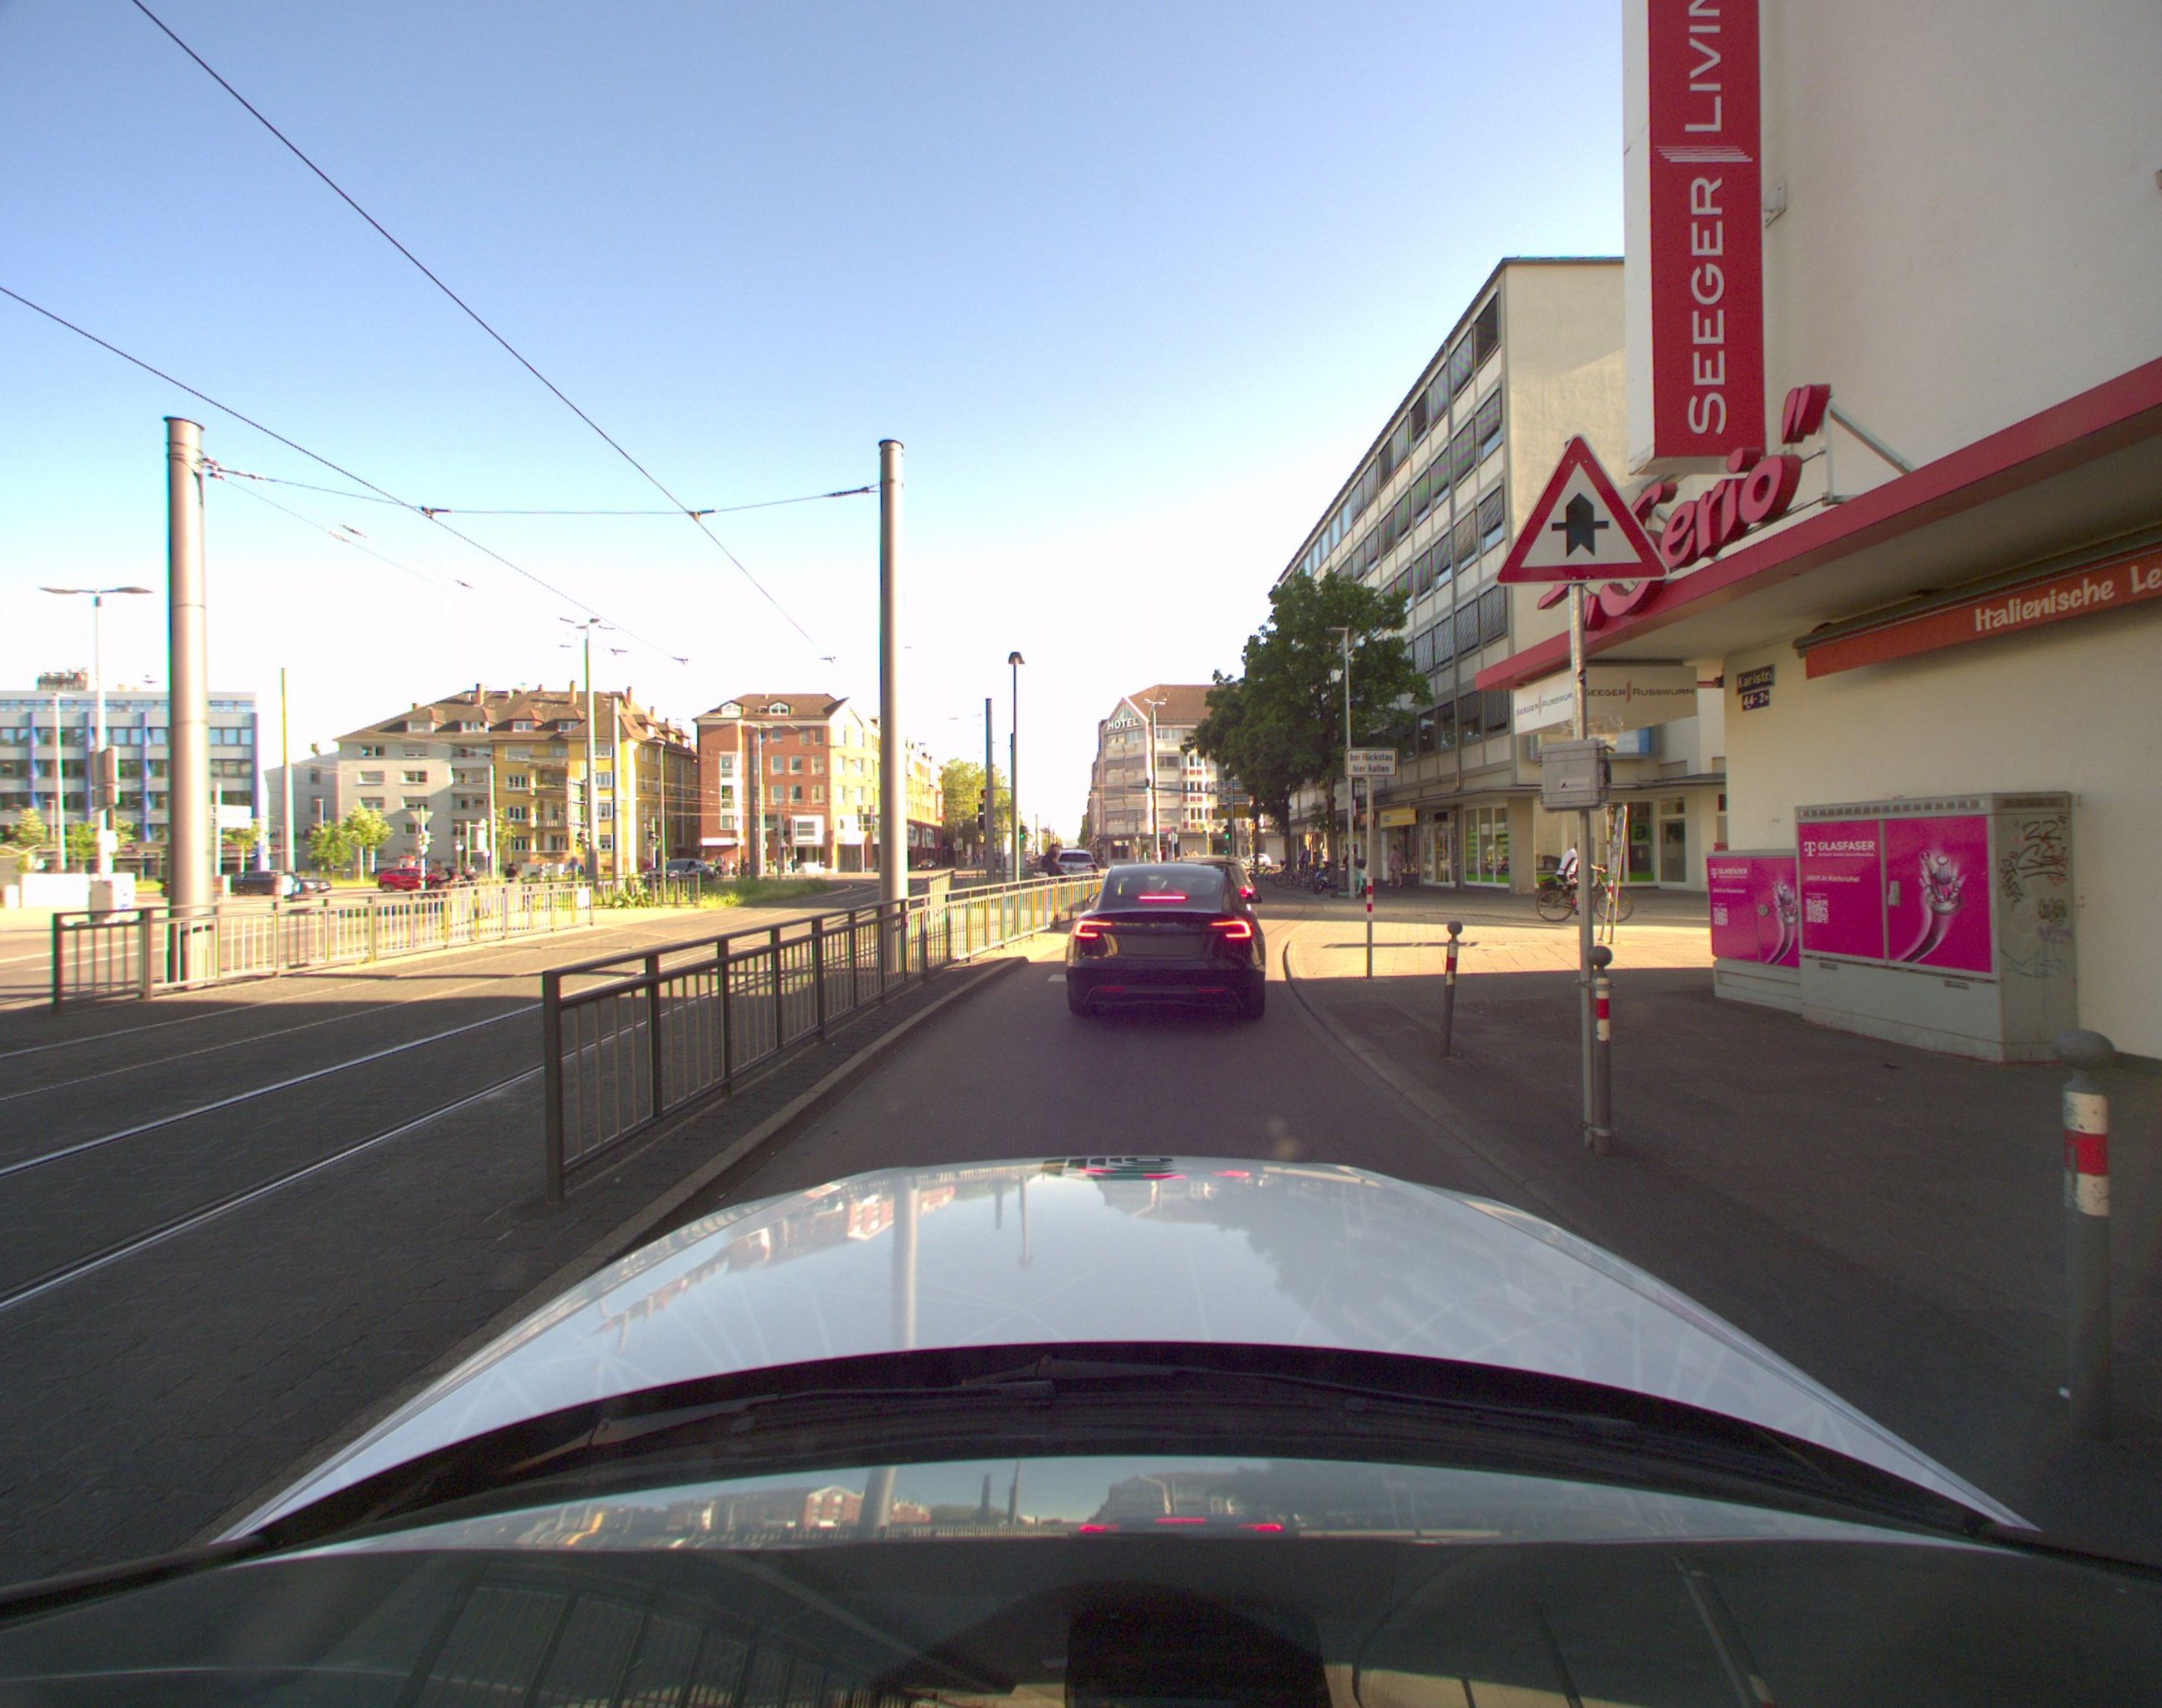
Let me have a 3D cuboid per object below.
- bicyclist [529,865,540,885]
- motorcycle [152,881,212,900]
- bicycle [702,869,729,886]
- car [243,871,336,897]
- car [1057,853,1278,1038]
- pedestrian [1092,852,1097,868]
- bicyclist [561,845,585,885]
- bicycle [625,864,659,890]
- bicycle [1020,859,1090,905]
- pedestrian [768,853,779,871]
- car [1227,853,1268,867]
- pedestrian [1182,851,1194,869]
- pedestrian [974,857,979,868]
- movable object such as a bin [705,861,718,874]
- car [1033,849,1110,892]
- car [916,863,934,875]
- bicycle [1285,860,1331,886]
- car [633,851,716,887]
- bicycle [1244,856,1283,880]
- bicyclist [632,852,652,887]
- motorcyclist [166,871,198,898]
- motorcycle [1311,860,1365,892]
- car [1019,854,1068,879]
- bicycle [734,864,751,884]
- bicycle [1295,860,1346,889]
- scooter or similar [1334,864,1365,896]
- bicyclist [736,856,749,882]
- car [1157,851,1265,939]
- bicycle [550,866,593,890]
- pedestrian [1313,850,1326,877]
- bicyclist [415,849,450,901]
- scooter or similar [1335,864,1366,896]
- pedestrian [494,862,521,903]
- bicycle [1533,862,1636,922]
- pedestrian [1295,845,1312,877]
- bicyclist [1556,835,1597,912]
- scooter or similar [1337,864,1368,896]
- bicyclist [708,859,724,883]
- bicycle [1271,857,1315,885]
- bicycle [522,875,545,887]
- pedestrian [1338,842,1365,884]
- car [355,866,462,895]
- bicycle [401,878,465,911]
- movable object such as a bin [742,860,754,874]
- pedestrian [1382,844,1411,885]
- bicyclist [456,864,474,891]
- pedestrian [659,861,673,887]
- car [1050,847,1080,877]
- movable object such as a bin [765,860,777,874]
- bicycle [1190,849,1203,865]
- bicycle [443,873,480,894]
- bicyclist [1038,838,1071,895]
[{"bbox_3d":[-35.047,1.339,52.255,0.459,1.316,0.398,0,-1,-14],"label":"bicyclist"},{"bbox_3d":[-51.749,2.097,46.896,2.355,0.984,0.790,0,-1,-6],"label":"motorcycle"},{"bbox_3d":[-22.061,1.403,49.191,0.647,1.013,1.887,0,-1,4],"label":"bicycle"},{"bbox_3d":[-46.301,1.731,47.670,3.695,1.472,1.572,0,-1,-6],"label":"car"},{"bbox_3d":[0.887,0.744,8.606,1.782,1.450,3.946,0,1,5],"label":"car"},{"bbox_3d":[1.604,0.696,95.015,0.624,1.782,0.918,0,-1,1],"label":"pedestrian"},{"bbox_3d":[-21.776,0.459,34.900,0.518,1.673,0.771,0,-1,3],"label":"bicyclist"},{"bbox_3d":[-21.332,1.116,39.597,0.527,1.214,1.887,0,-1,4],"label":"bicycle"},{"bbox_3d":[-0.716,0.749,22.359,1.831,1.212,0.635,0,-1,-29],"label":"bicycle"},{"bbox_3d":[-29.495,0.770,78.087,0.694,1.710,0.928,0,-1,-5],"label":"pedestrian"},{"bbox_3d":[17.604,0.629,86.204,3.832,1.432,1.801,-1,-2,-4],"label":"car"},{"bbox_3d":[9.707,0.554,74.014,0.780,1.576,0.864,0,1,-13],"label":"pedestrian"},{"bbox_3d":[-14.030,1.171,109.716,0.584,1.531,0.634,0,-1,-16],"label":"pedestrian"},{"bbox_3d":[-39.719,1.435,87.655,0.995,1.437,1.093,0,-1,-8],"label":"movable object such as a bin"},{"bbox_3d":[-0.445,0.648,32.893,1.848,1.635,3.457,0,-1,-25],"label":"car"},{"bbox_3d":[-20.289,1.925,106.174,1.814,1.454,3.972,-2,0,-4],"label":"car"},{"bbox_3d":[9.258,0.775,33.257,1.758,1.057,0.459,0,-1,6],"label":"bicycle"},{"bbox_3d":[-18.636,0.680,37.550,1.678,1.560,4.124,0,-1,2],"label":"car"},{"bbox_3d":[9.465,0.734,42.294,1.882,1.156,0.480,-2,-1,2],"label":"bicycle"},{"bbox_3d":[-21.343,0.757,39.581,0.518,1.673,0.771,0,-1,3],"label":"bicyclist"},{"bbox_3d":[-51.768,1.746,46.893,0.919,1.524,0.781,0,-1,-5],"label":"motorcyclist"},{"bbox_3d":[9.186,0.790,29.109,1.781,1.130,0.504,0,-1,-1],"label":"motorcycle"},{"bbox_3d":[-2.505,0.794,53.146,1.737,1.551,3.438,0,-1,-32],"label":"car"},{"bbox_3d":[-21.742,1.266,52.371,0.573,1.291,2.020,0,-1,-9],"label":"bicycle"},{"bbox_3d":[9.177,0.778,31.232,1.850,1.056,0.398,-2,0,-10],"label":"bicycle"},{"bbox_3d":[8.966,0.870,27.223,0.959,1.027,0.160,-1,0,4],"label":"scooter or similar"},{"bbox_3d":[-21.671,0.965,52.143,0.588,1.649,0.803,0,-1,-10],"label":"bicyclist"},{"bbox_3d":[2.424,0.684,15.813,1.755,1.444,4.537,0,0,7],"label":"car"},{"bbox_3d":[-21.781,1.007,34.841,0.527,1.013,1.887,0,-1,4],"label":"bicycle"},{"bbox_3d":[12.832,0.508,43.821,0.640,1.422,0.623,-1,-1,13],"label":"pedestrian"},{"bbox_3d":[-21.472,0.687,26.976,0.522,1.673,0.771,0,-1,4],"label":"bicyclist"},{"bbox_3d":[8.952,0.859,27.023,0.952,1.039,0.160,-1,0,4],"label":"scooter or similar"},{"bbox_3d":[-27.526,1.364,39.097,0.719,1.934,0.800,-1,-1,8],"label":"pedestrian"},{"bbox_3d":[10.727,0.789,17.383,1.802,1.212,0.586,-1,-1,37],"label":"bicycle"},{"bbox_3d":[12.088,0.389,44.290,0.837,1.721,0.883,-1,-1,14],"label":"pedestrian"},{"bbox_3d":[10.630,0.412,17.468,0.674,1.631,0.582,-1,-1,37],"label":"bicyclist"},{"bbox_3d":[8.937,0.846,26.825,0.959,1.043,0.160,-1,0,4],"label":"scooter or similar"},{"bbox_3d":[-22.062,1.015,49.236,0.661,1.454,0.731,0,-1,2],"label":"bicyclist"},{"bbox_3d":[9.176,0.749,35.296,1.805,1.151,0.435,-1,-1,-3],"label":"bicycle"},{"bbox_3d":[-35.112,1.718,52.197,1.174,0.764,0.318,0,-1,-15],"label":"bicycle"},{"bbox_3d":[11.324,0.383,34.054,0.840,1.707,0.880,0,-1,1],"label":"pedestrian"},{"bbox_3d":[-39.795,1.559,48.310,4.548,1.509,1.777,-2,0,-9],"label":"car"},{"bbox_3d":[-21.463,1.320,27.028,0.527,1.013,1.899,0,-1,4],"label":"bicycle"},{"bbox_3d":[-35.999,1.408,88.043,0.995,1.437,1.093,0,-1,-8],"label":"movable object such as a bin"},{"bbox_3d":[12.593,0.406,32.540,0.840,1.602,0.880,0,-1,1],"label":"pedestrian"},{"bbox_3d":[-34.755,1.300,45.953,0.615,1.493,0.607,0,-1,-12],"label":"bicyclist"},{"bbox_3d":[-27.289,1.313,53.561,0.624,1.688,0.703,0,1,-11],"label":"pedestrian"},{"bbox_3d":[-0.863,0.441,45.015,1.568,1.618,3.782,0,-1,0],"label":"car"},{"bbox_3d":[-33.638,1.398,88.286,0.995,1.437,1.093,0,-1,-8],"label":"movable object such as a bin"},{"bbox_3d":[10.509,0.281,74.265,0.583,1.463,1.678,-1,0,-13],"label":"bicycle"},{"bbox_3d":[-34.921,1.673,45.914,1.497,1.133,0.609,0,-1,-13],"label":"bicycle"},{"bbox_3d":[-0.739,0.337,22.358,0.685,1.523,0.629,0,-1,-29],"label":"bicyclist"}]
